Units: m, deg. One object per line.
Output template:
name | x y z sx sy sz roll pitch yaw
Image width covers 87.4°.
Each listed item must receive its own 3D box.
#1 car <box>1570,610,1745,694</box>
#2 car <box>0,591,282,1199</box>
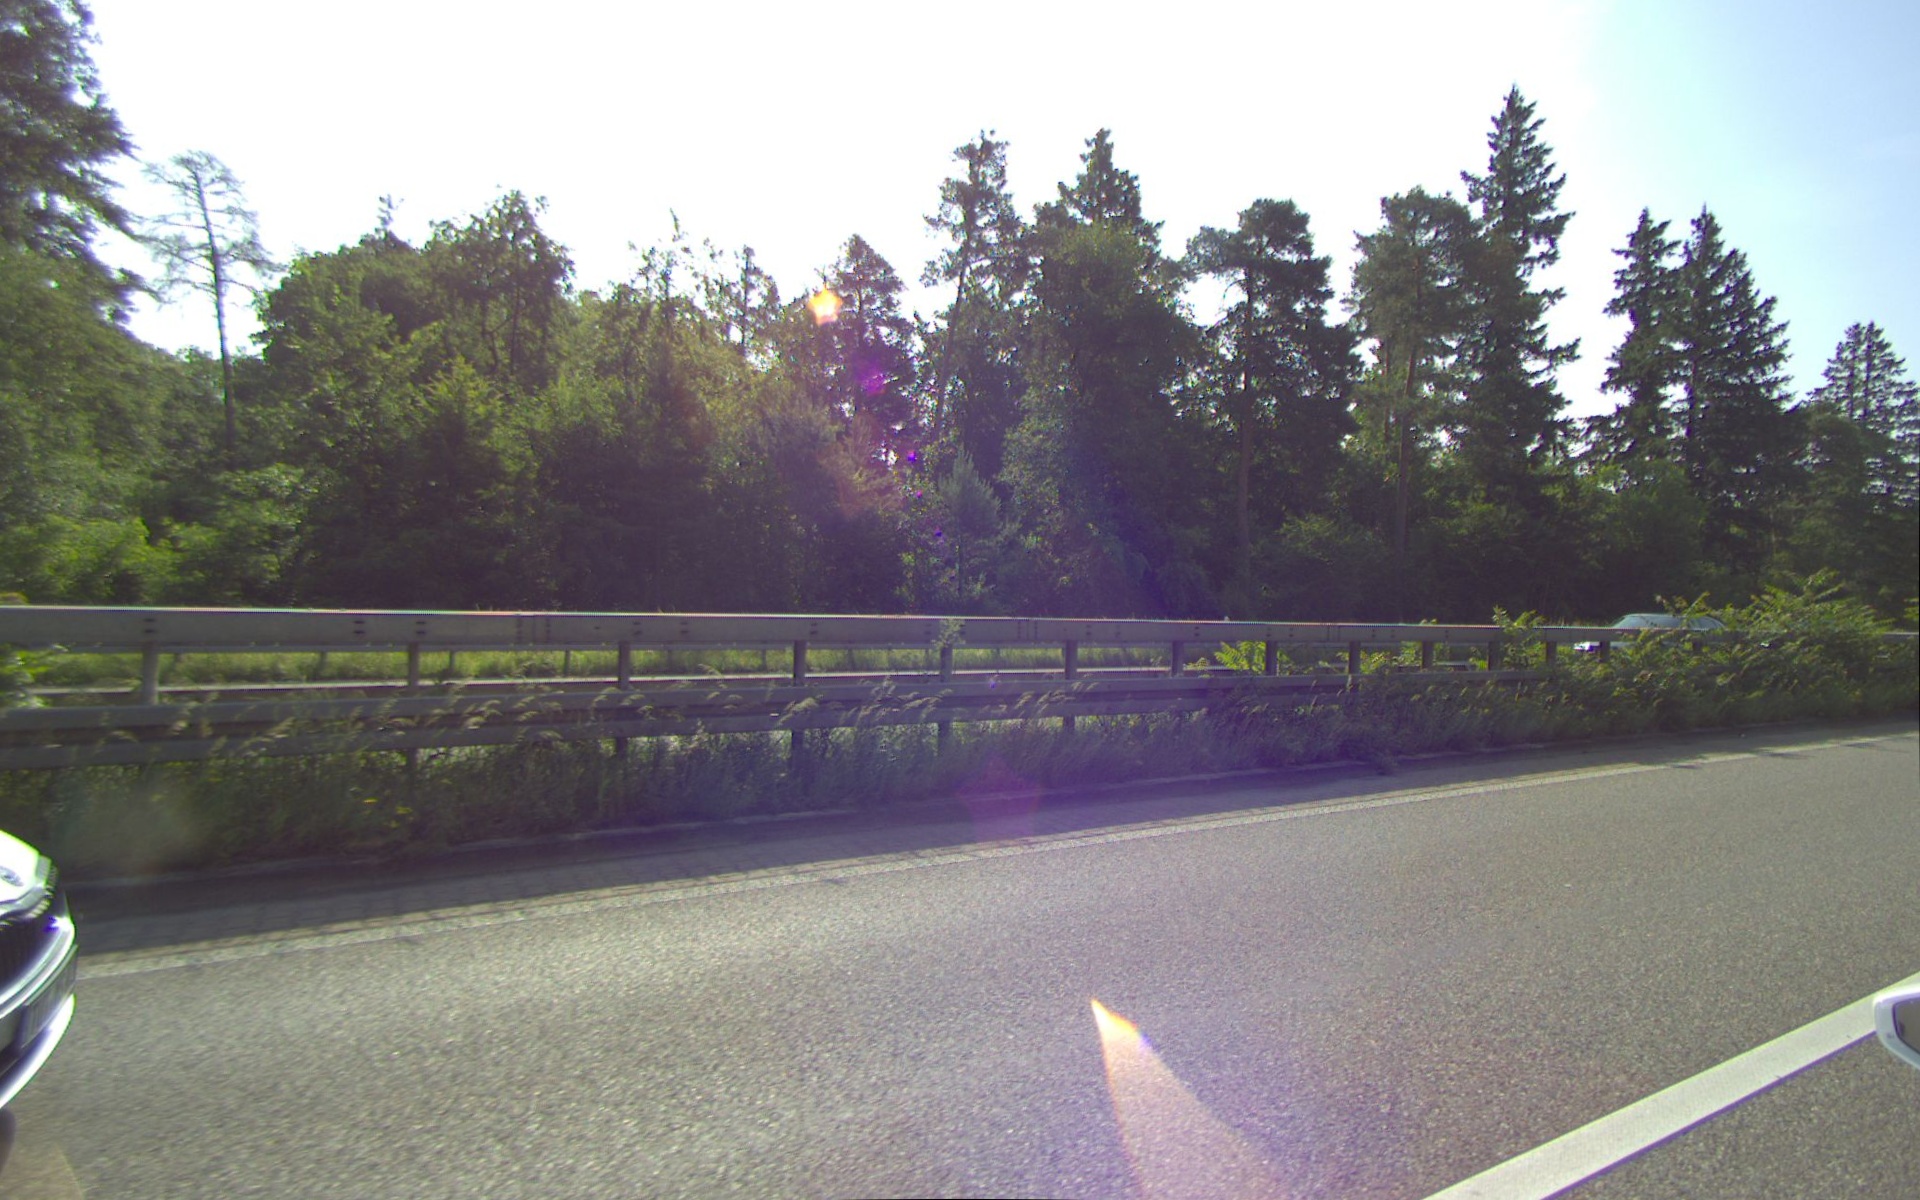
car | 14.788 1.052 21.278 3.624 1.609 1.734 1 0 -32
car | -4.293 0.675 1.574 5.217 1.457 1.783 1 -1 -31
